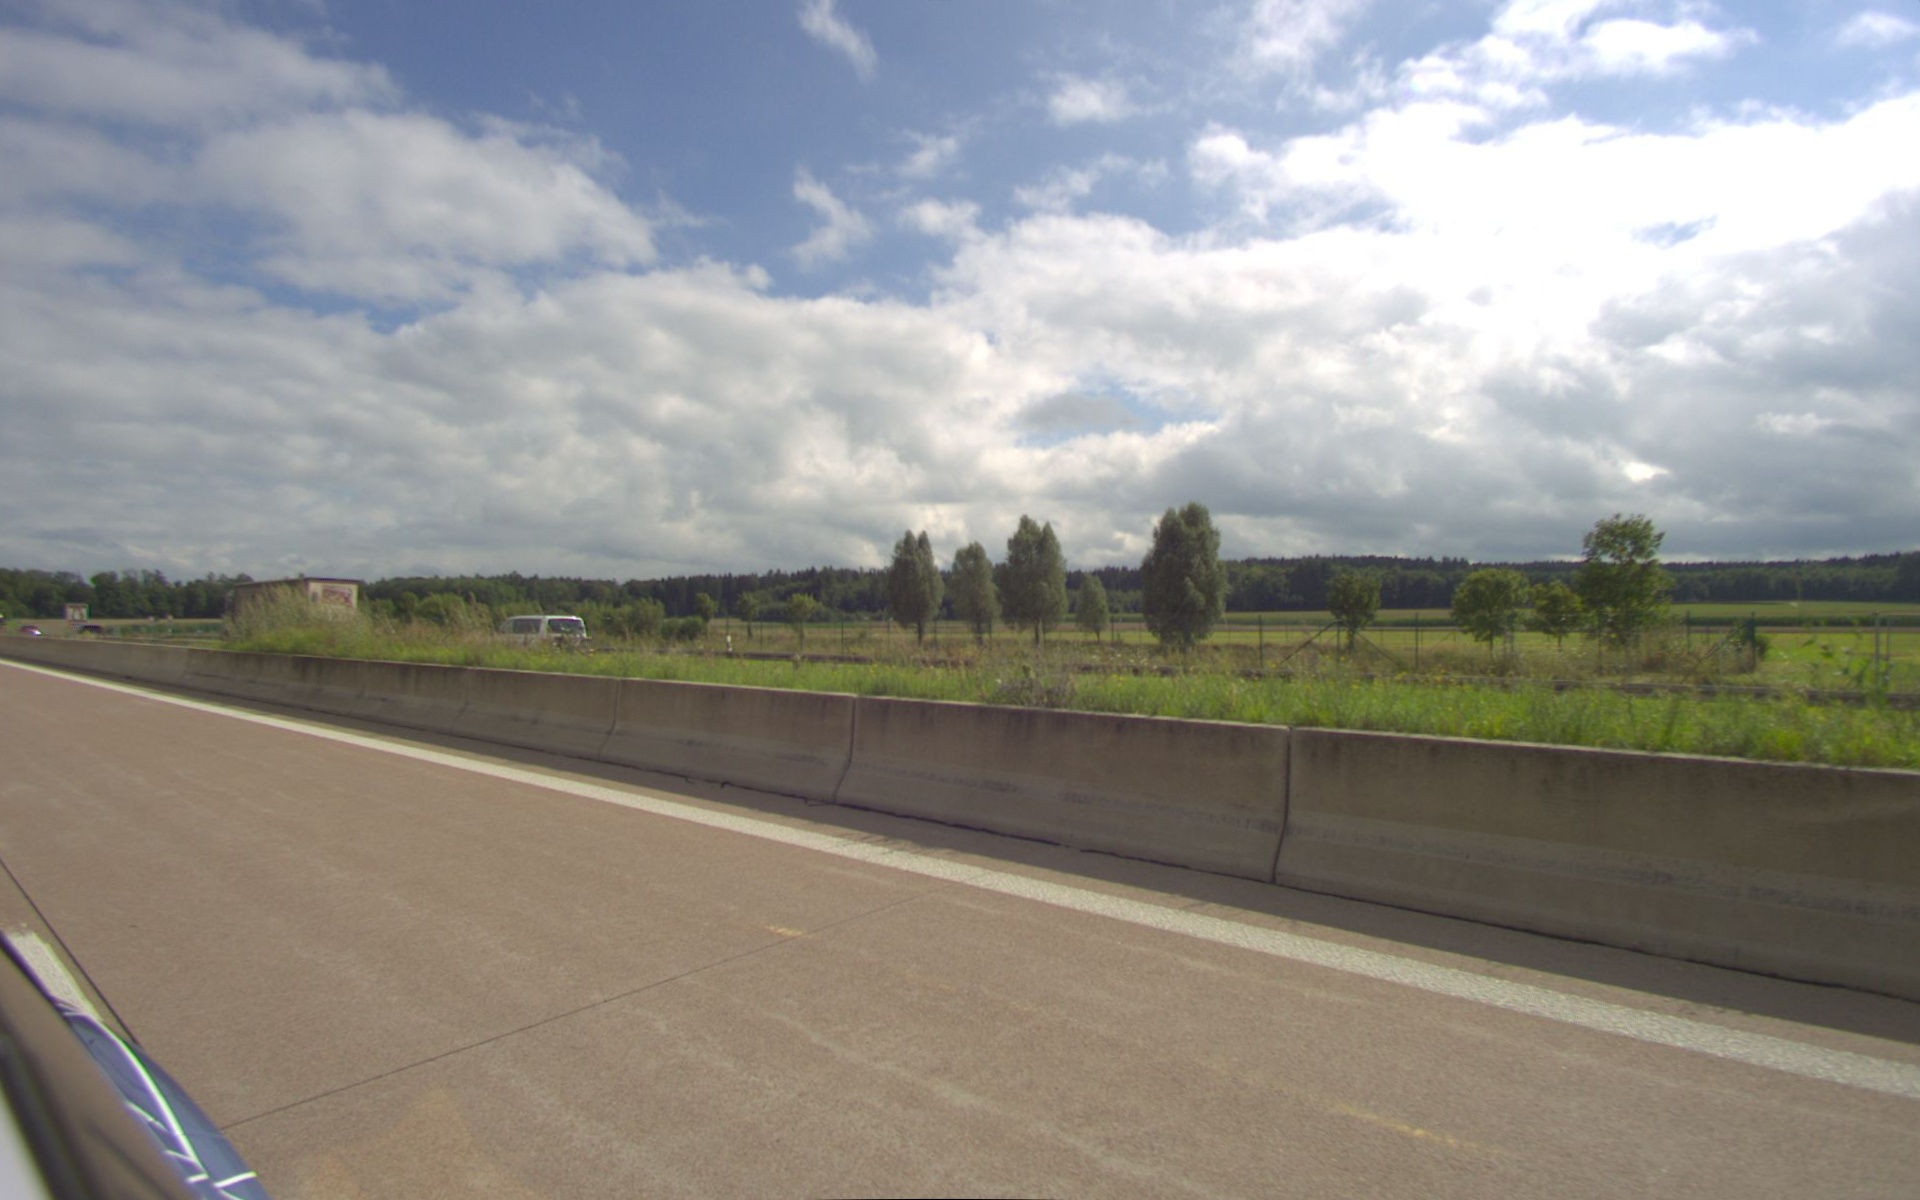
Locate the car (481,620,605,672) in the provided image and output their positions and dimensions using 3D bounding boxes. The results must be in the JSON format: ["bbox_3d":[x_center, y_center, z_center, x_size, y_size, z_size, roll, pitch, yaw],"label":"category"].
[{"bbox_3d":[-15.972,1.713,38.645,5.725,1.860,2.037,-1,-2,41],"label":"car"}]

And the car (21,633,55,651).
[{"bbox_3d":[-92.994,4.232,102.067,4.487,1.675,1.953,-1,0,40],"label":"car"}]

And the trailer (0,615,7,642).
[{"bbox_3d":[-152.218,4.560,158.319,16.320,4.008,3.160,-2,0,42],"label":"trailer"}]

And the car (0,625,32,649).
[{"bbox_3d":[-50.001,1.943,53.404,2.756,1.160,1.210,-2,0,41],"label":"car"}]

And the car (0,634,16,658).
[{"bbox_3d":[-86.605,4.133,90.952,5.215,1.997,1.973,-1,0,41],"label":"car"}]

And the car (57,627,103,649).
[{"bbox_3d":[-68.484,2.978,78.770,5.215,1.587,1.973,-2,0,41],"label":"car"}]

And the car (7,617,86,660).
[{"bbox_3d":[-38.172,1.579,42.254,4.080,1.675,1.952,-2,0,41],"label":"car"}]

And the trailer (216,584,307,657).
[{"bbox_3d":[-43.066,1.251,62.301,7.006,4.280,2.976,-2,0,41],"label":"trailer"}]

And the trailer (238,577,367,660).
[{"bbox_3d":[-37.410,1.077,57.274,12.089,4.296,2.990,-2,0,42],"label":"trailer"}]
